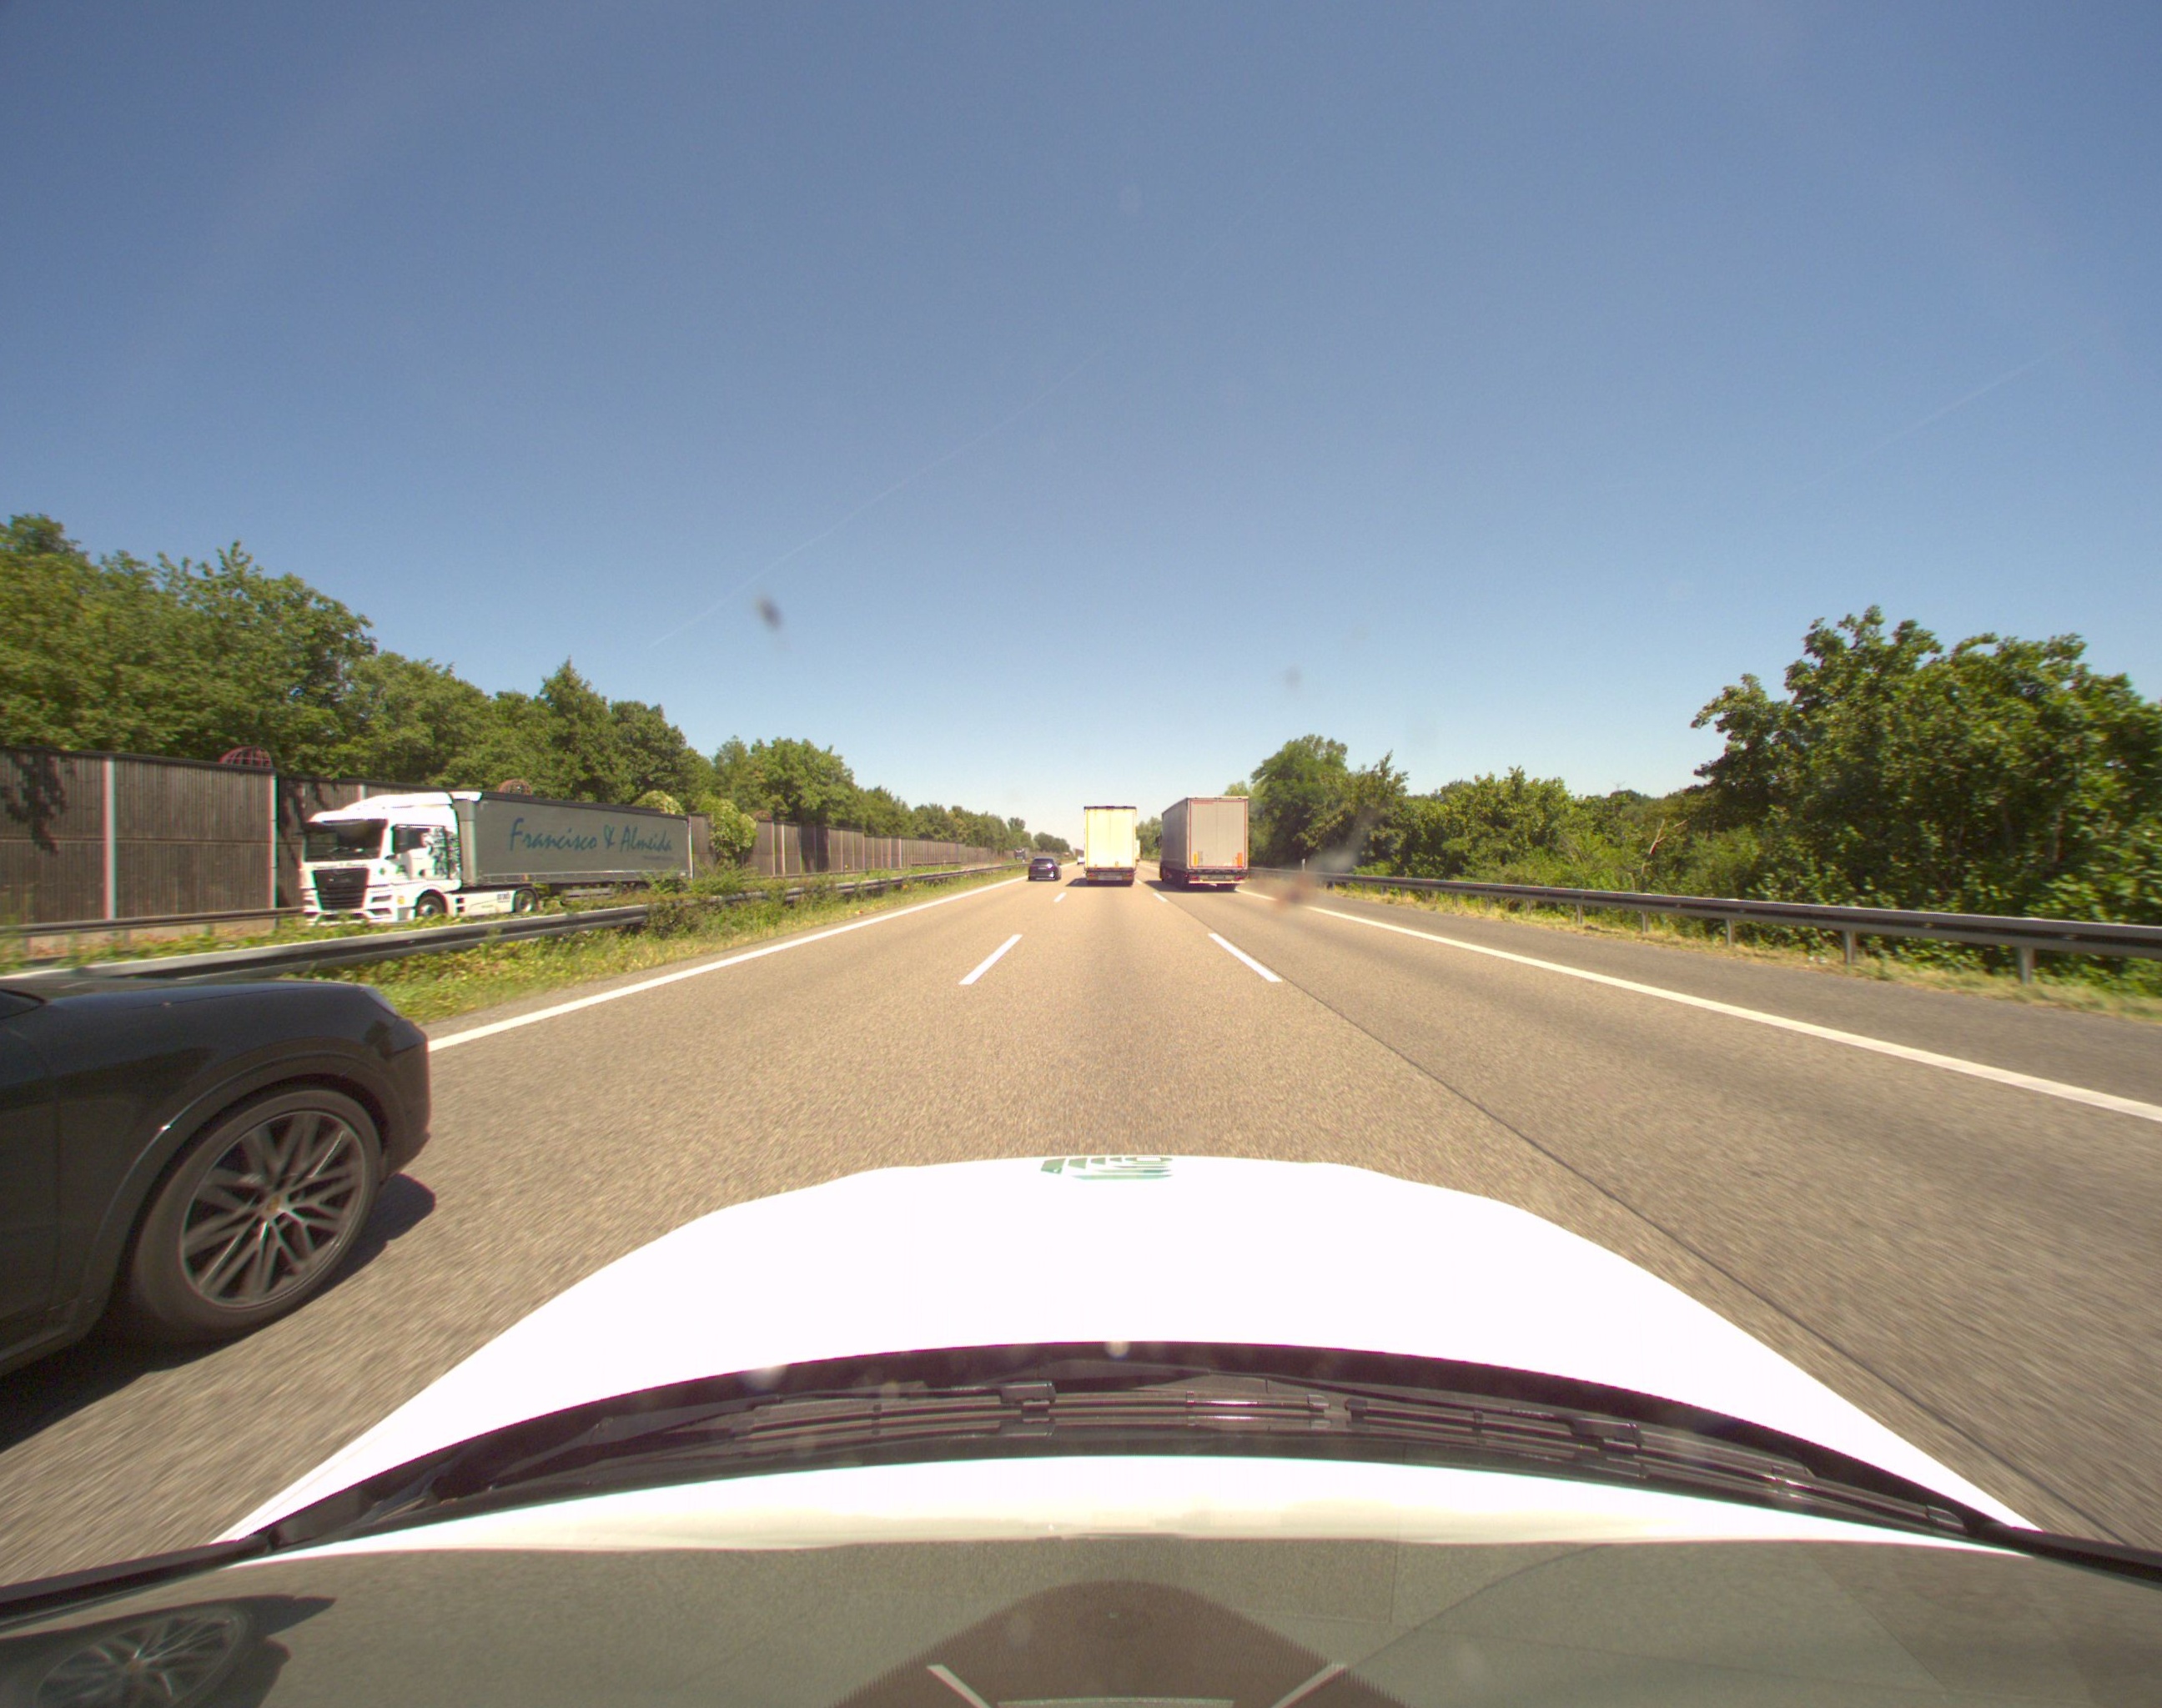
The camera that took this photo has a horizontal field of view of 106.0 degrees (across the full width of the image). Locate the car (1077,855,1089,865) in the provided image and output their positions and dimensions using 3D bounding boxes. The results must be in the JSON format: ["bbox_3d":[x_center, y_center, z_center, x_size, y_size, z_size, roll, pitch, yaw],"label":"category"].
[{"bbox_3d":[0.357,0.977,128.451,1.848,1.486,4.001,-3,0,1],"label":"car"}]

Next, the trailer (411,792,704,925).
[{"bbox_3d":[-19.979,0.153,32.918,2.899,4.183,13.314,-2,0,1],"label":"trailer"}]

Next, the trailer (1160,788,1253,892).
[{"bbox_3d":[5.775,-0.577,40.007,2.694,4.215,13.214,-2,0,1],"label":"trailer"}]

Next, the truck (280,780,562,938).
[{"bbox_3d":[-20.110,0.135,25.585,2.823,4.183,7.143,-2,0,1],"label":"truck"}]

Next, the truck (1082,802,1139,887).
[{"bbox_3d":[1.578,-0.479,46.503,2.697,4.085,13.476,-2,0,1],"label":"truck"}]

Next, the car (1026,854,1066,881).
[{"bbox_3d":[-2.170,0.818,51.833,1.936,1.506,5.825,-2,0,3],"label":"car"}]

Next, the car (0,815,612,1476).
[{"bbox_3d":[-3.708,0.745,1.579,2.036,1.625,5.775,-2,0,2],"label":"car"}]

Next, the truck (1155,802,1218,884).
[{"bbox_3d":[5.916,-0.579,46.825,2.682,4.215,7.839,-2,0,1],"label":"truck"}]

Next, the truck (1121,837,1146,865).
[{"bbox_3d":[8.545,-0.502,134.342,3.363,4.303,11.449,0,0,0],"label":"truck"}]
